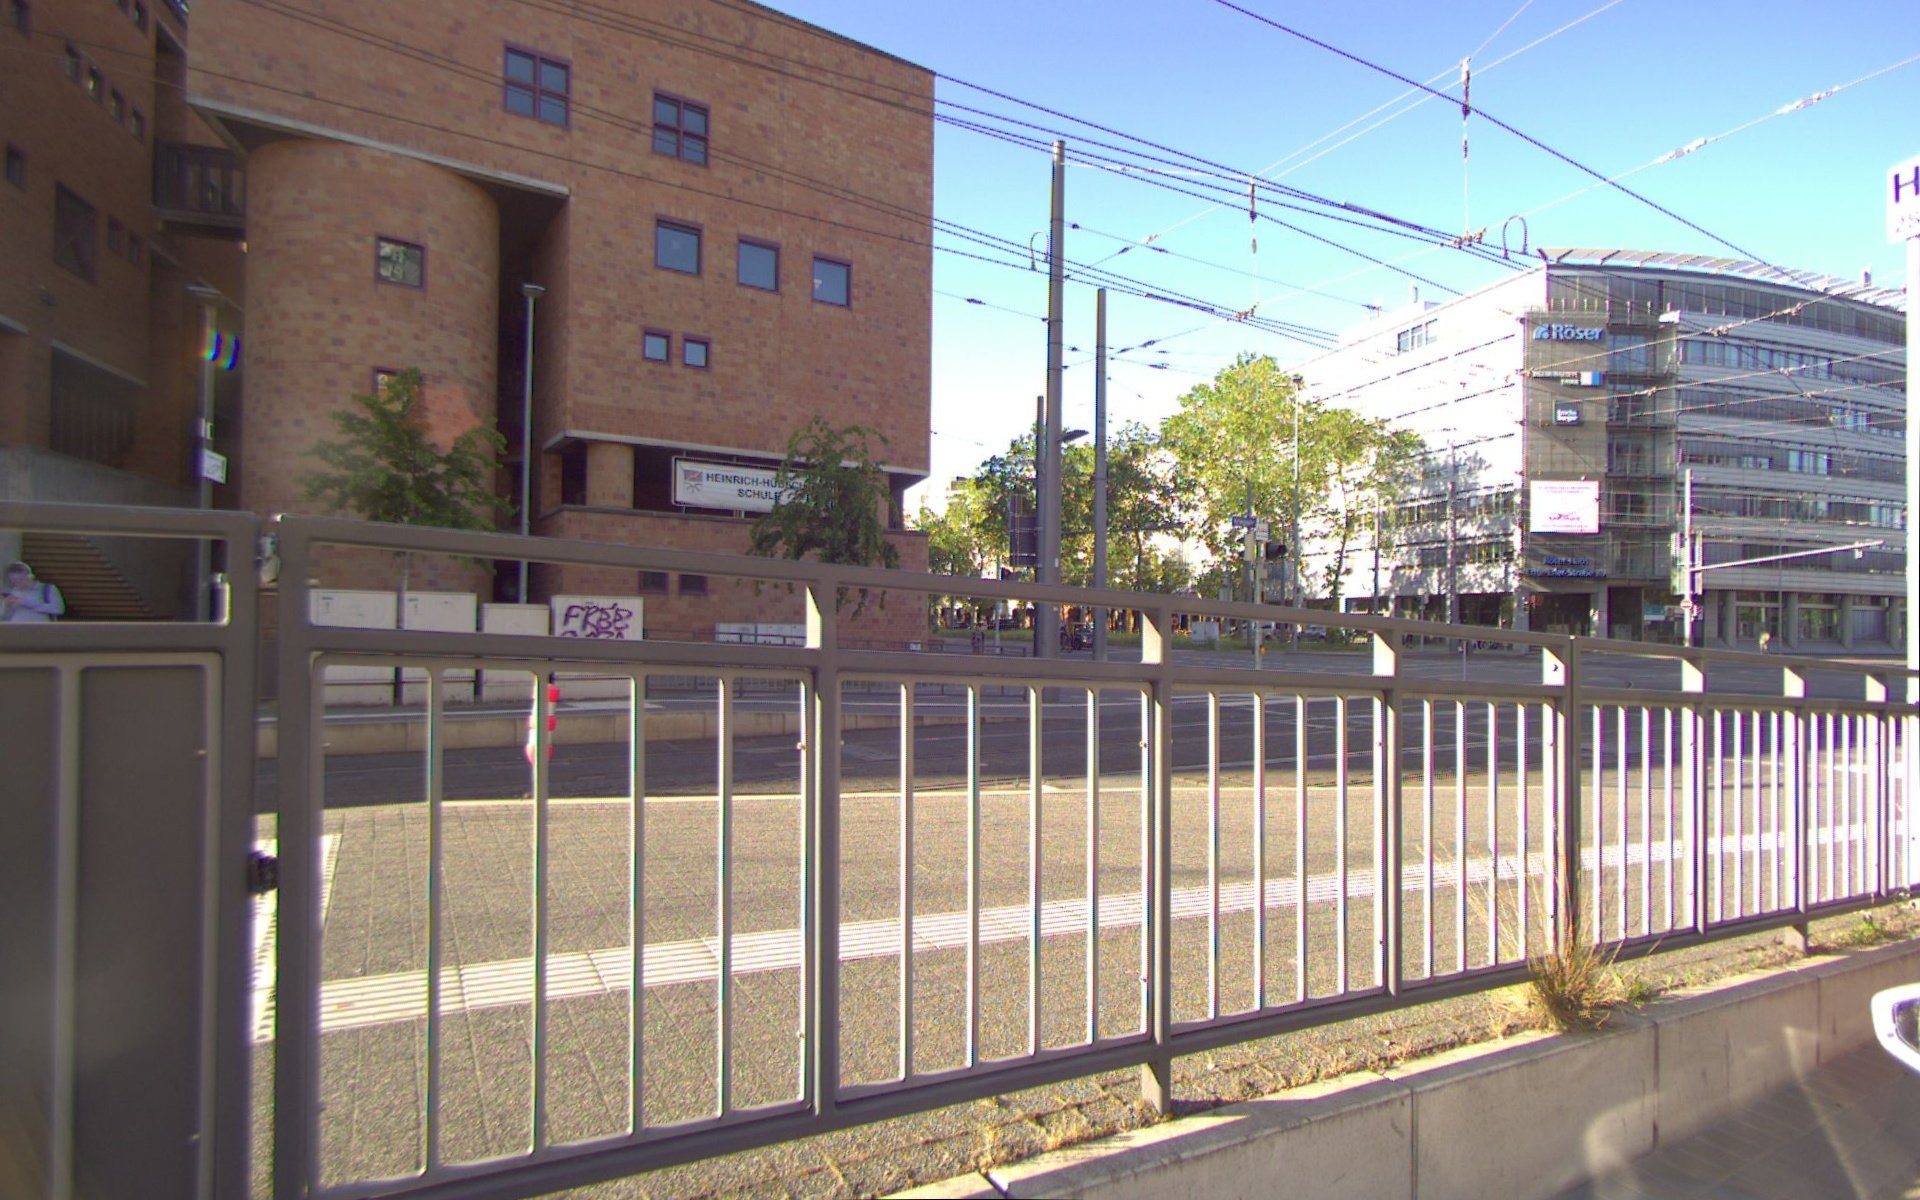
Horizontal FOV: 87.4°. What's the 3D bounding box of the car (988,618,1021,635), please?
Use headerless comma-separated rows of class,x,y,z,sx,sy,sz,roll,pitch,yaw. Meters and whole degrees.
car,5.188,3.088,117.526,2.011,2.003,4.382,0,-1,-29

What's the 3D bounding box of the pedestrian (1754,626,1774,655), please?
pedestrian,52.352,2.628,65.394,0.872,1.847,0.674,1,-2,-20

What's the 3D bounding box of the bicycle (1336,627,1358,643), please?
bicycle,30.547,2.761,79.316,1.812,1.167,0.467,0,0,-23

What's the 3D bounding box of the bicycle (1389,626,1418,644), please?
bicycle,31.130,2.442,70.515,0.605,1.179,1.835,-2,2,-27

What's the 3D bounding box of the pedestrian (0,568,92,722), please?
pedestrian,-9.659,0.464,10.583,0.647,1.555,0.696,1,-1,-33

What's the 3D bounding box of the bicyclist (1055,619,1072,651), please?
bicyclist,5.414,1.837,52.674,0.614,1.643,0.812,1,-1,-16

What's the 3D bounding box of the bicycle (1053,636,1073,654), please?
bicycle,5.396,2.365,52.761,0.528,0.925,1.564,1,-1,-15

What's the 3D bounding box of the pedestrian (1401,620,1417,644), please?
pedestrian,31.603,2.249,70.713,0.598,1.633,0.832,-2,2,-26

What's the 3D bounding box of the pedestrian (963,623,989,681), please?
pedestrian,0.471,1.484,28.973,0.501,1.639,0.504,2,0,-40

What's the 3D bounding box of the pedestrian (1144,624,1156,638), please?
pedestrian,20.730,3.379,109.421,0.860,1.567,0.989,1,-1,-22

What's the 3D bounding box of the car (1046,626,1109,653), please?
car,6.624,2.210,56.976,1.637,1.346,3.591,2,0,-31

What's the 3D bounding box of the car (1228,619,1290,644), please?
car,24.159,2.535,81.229,1.904,1.868,4.889,-1,0,-28

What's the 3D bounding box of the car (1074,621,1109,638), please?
car,13.372,2.995,102.203,1.840,1.660,3.844,1,-1,-25

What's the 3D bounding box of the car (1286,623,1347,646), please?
car,27.085,2.629,76.491,1.840,1.594,4.387,-1,0,-25
